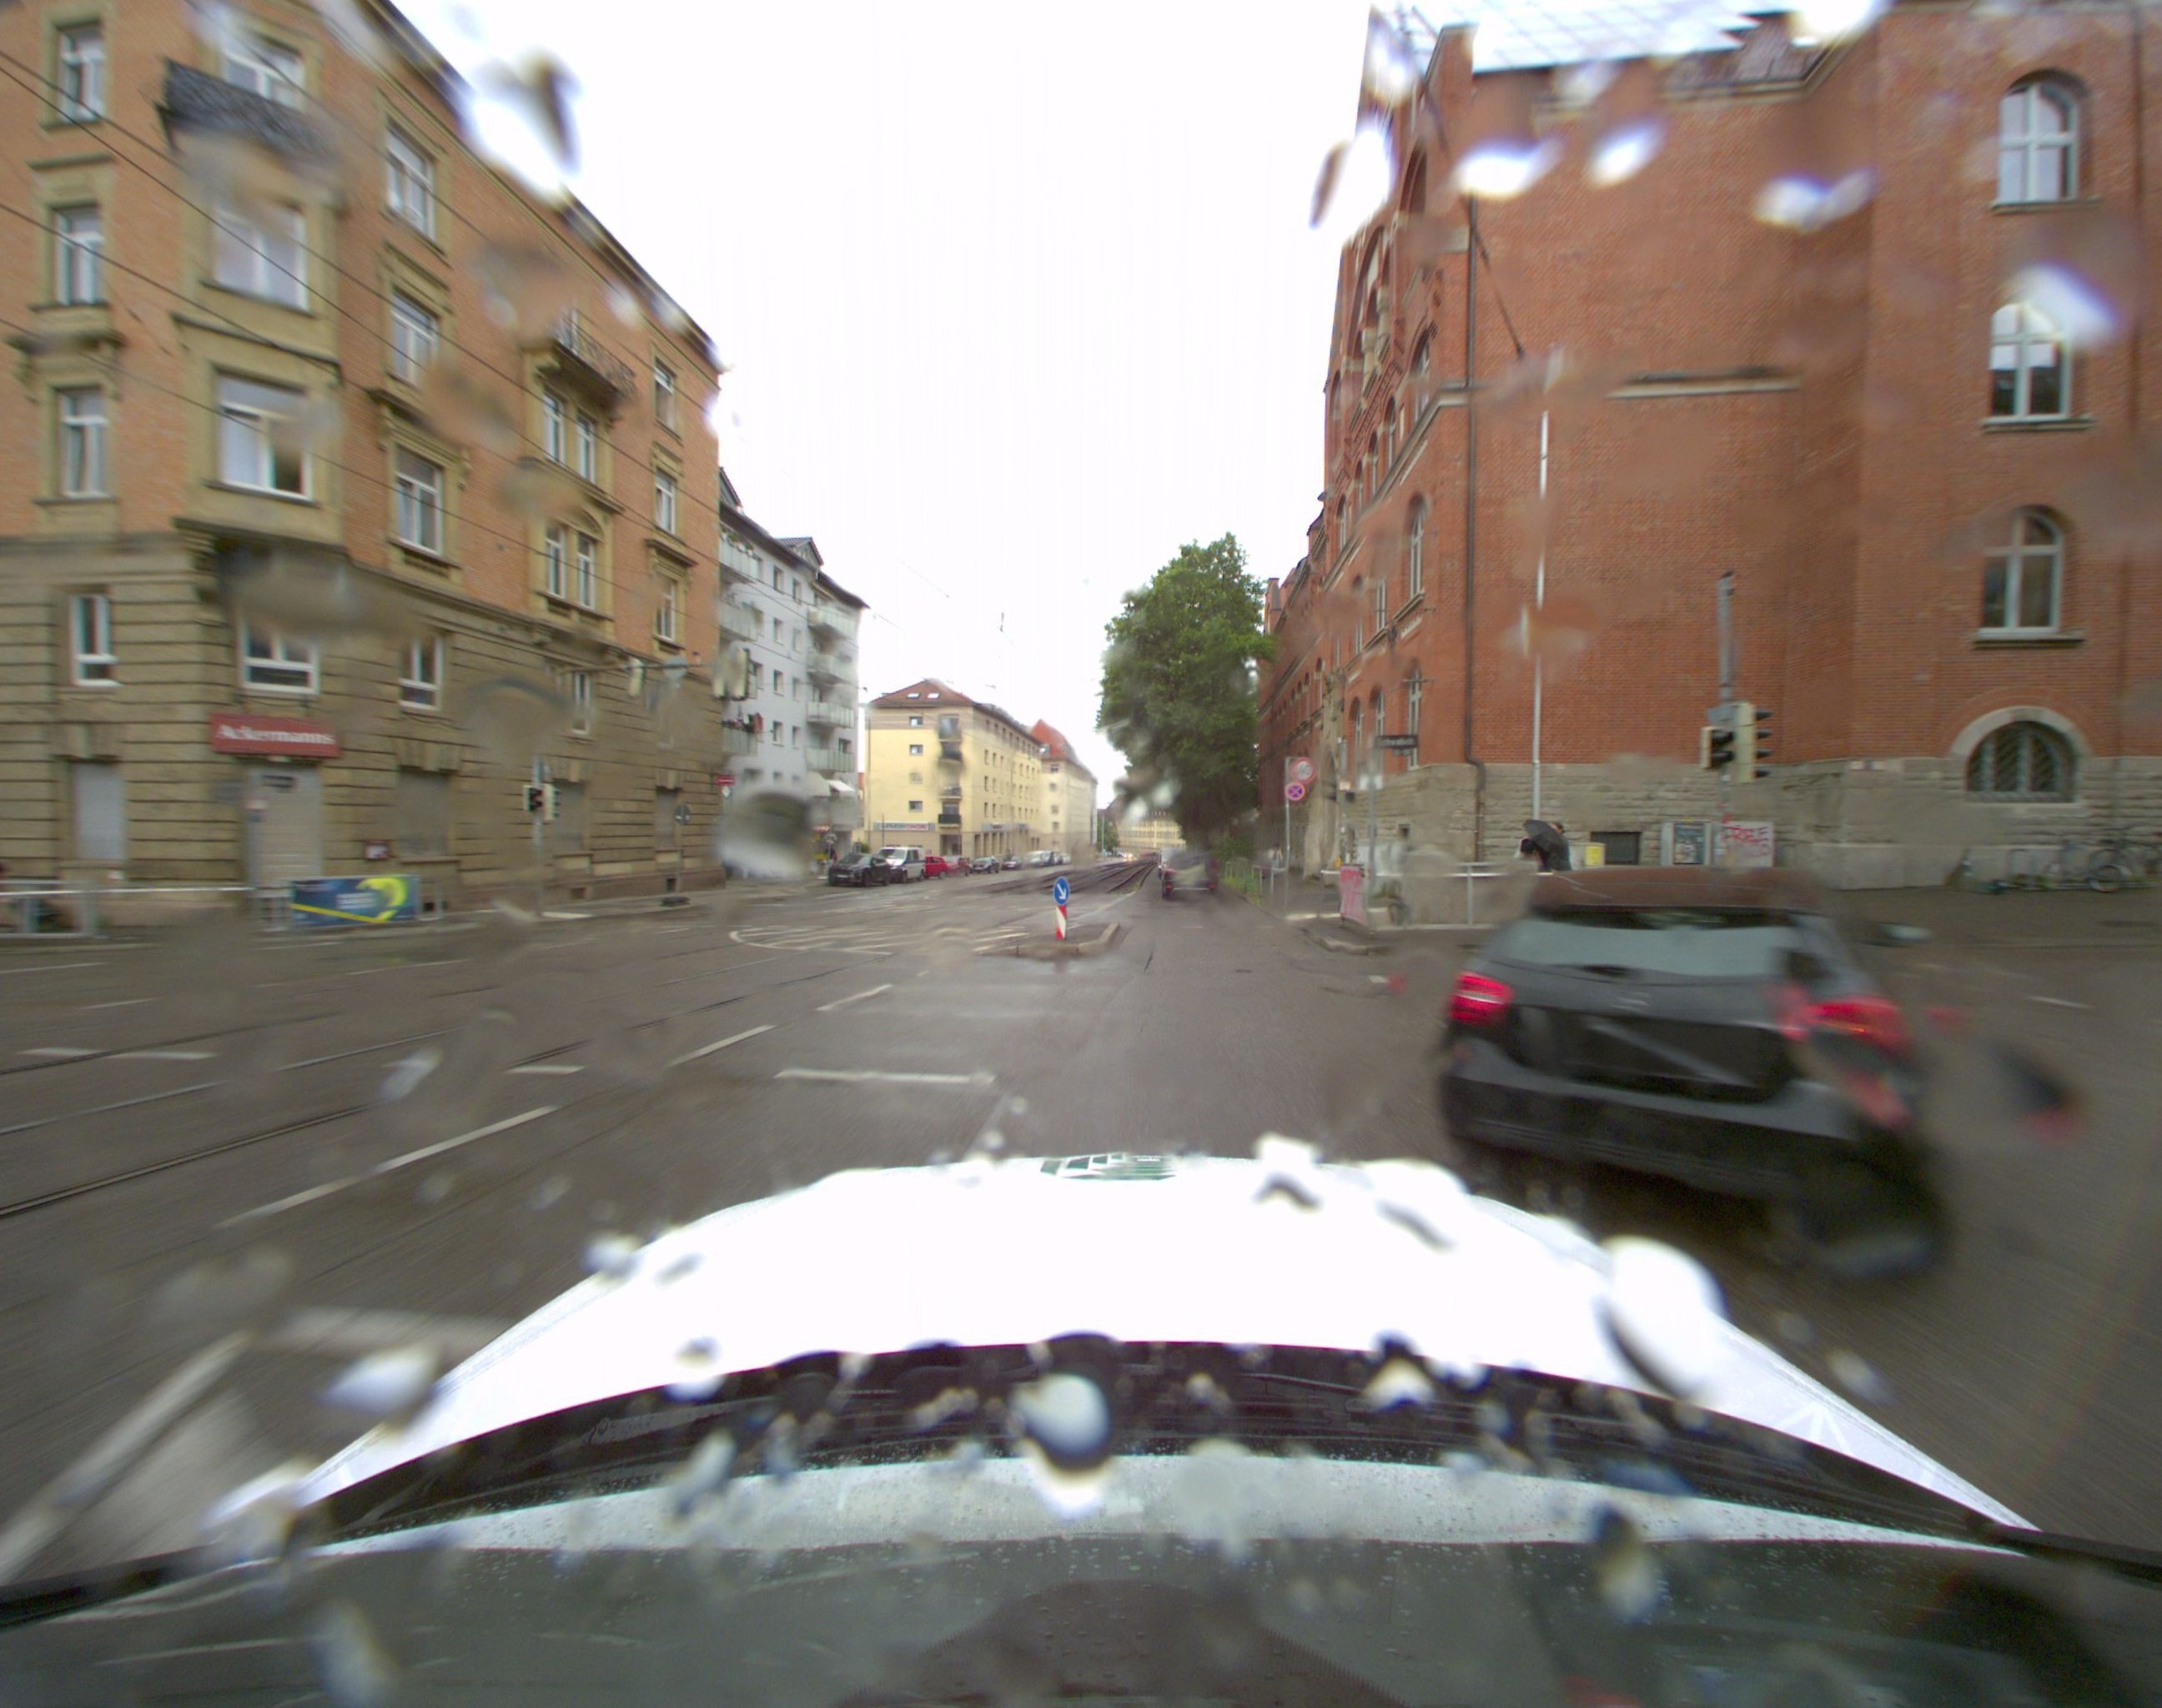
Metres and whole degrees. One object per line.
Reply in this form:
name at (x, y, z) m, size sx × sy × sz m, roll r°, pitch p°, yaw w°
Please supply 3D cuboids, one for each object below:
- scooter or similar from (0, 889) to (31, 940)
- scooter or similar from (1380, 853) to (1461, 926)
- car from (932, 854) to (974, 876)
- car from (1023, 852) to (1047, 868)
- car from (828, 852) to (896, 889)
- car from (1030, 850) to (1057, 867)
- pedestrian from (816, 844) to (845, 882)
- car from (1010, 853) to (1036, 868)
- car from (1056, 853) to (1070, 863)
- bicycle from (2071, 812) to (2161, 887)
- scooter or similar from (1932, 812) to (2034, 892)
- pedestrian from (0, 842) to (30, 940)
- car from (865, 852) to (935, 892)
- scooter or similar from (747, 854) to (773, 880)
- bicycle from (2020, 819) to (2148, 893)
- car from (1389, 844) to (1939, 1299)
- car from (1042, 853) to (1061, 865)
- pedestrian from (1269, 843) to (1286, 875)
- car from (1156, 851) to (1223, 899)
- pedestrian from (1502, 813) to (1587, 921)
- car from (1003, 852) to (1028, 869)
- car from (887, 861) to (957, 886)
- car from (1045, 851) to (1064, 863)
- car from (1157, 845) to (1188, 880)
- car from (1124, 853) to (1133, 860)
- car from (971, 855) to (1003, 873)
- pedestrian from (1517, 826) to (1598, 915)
scooter or similar at (-20.569, 1.148, 15.464) m, size 0.556 × 0.945 × 0.573 m, roll -1°, pitch 0°, yaw -24°
scooter or similar at (6.043, 0.621, 14.486) m, size 1.235 × 1.250 × 0.642 m, roll -2°, pitch -1°, yaw 28°
car at (-8.788, 0.739, 56.209) m, size 1.643 × 1.451 × 4.085 m, roll -1°, pitch 0°, yaw 10°
car at (-5.111, 0.619, 90.472) m, size 1.857 × 1.717 × 4.469 m, roll -1°, pitch 0°, yaw 7°
car at (-10.548, 0.757, 39.509) m, size 1.724 × 1.651 × 4.371 m, roll 0°, pitch 0°, yaw 6°
car at (-4.405, 0.466, 96.349) m, size 1.981 × 1.905 × 5.475 m, roll 1°, pitch 0°, yaw 10°
pedestrian at (-12.974, 0.470, 42.229) m, size 1.168 × 1.929 × 1.177 m, roll 0°, pitch 0°, yaw -1°
car at (-5.964, 0.646, 84.401) m, size 1.841 × 1.432 × 4.841 m, roll 1°, pitch 0°, yaw 7°
car at (-2.509, 0.509, 114.126) m, size 1.697 × 1.396 × 3.938 m, roll 0°, pitch 0°, yaw 3°
bicycle at (19.429, -0.095, 14.959) m, size 0.342 × 1.244 × 1.844 m, roll -4°, pitch 5°, yaw 5°
scooter or similar at (16.884, -0.047, 15.286) m, size 0.406 × 1.419 × 1.521 m, roll -1°, pitch 1°, yaw 8°
pedestrian at (-20.555, 0.697, 15.374) m, size 0.629 × 1.840 × 0.635 m, roll -1°, pitch 0°, yaw -26°
car at (-10.022, 0.927, 45.578) m, size 2.059 × 2.009 × 5.311 m, roll 3°, pitch 1°, yaw 6°
scooter or similar at (-16.074, 0.643, 40.793) m, size 1.087 × 1.209 × 0.316 m, roll -4°, pitch 0°, yaw -5°
bicycle at (18.433, 0.005, 15.024) m, size 0.411 × 1.202 × 1.670 m, roll -4°, pitch 4°, yaw 5°
car at (3.473, 0.678, 4.699) m, size 1.777 × 1.374 × 4.025 m, roll 0°, pitch 2°, yaw 43°
car at (-3.643, 0.627, 101.252) m, size 1.682 × 1.439 × 4.057 m, roll -1°, pitch 0°, yaw 7°
pedestrian at (10.424, 0.270, 43.282) m, size 0.818 × 1.678 × 0.862 m, roll -1°, pitch -1°, yaw 9°
car at (3.532, 0.661, 27.170) m, size 1.925 × 1.453 × 4.321 m, roll 0°, pitch 0°, yaw 3°
pedestrian at (8.491, 0.226, 14.969) m, size 0.953 × 1.887 × 1.075 m, roll -2°, pitch 0°, yaw 6°
car at (-6.273, 0.629, 78.834) m, size 1.844 × 1.508 × 4.993 m, roll 0°, pitch 0°, yaw 1°
car at (-9.781, 1.166, 50.338) m, size 1.763 × 1.434 × 4.007 m, roll 0°, pitch 0°, yaw 40°
car at (-3.382, 0.413, 105.812) m, size 1.804 × 1.499 × 4.591 m, roll 1°, pitch 0°, yaw 6°
car at (5.514, 0.490, 49.436) m, size 1.732 × 2.014 × 3.909 m, roll 0°, pitch 0°, yaw 5°
car at (11.940, 0.620, 204.424) m, size 1.702 × 1.462 × 4.289 m, roll -1°, pitch 0°, yaw 7°
car at (-7.502, 0.778, 65.419) m, size 1.671 × 1.396 × 4.629 m, roll -1°, pitch 0°, yaw 5°
pedestrian at (9.151, 0.300, 15.692) m, size 0.953 × 1.625 × 1.075 m, roll -2°, pitch 0°, yaw 6°
